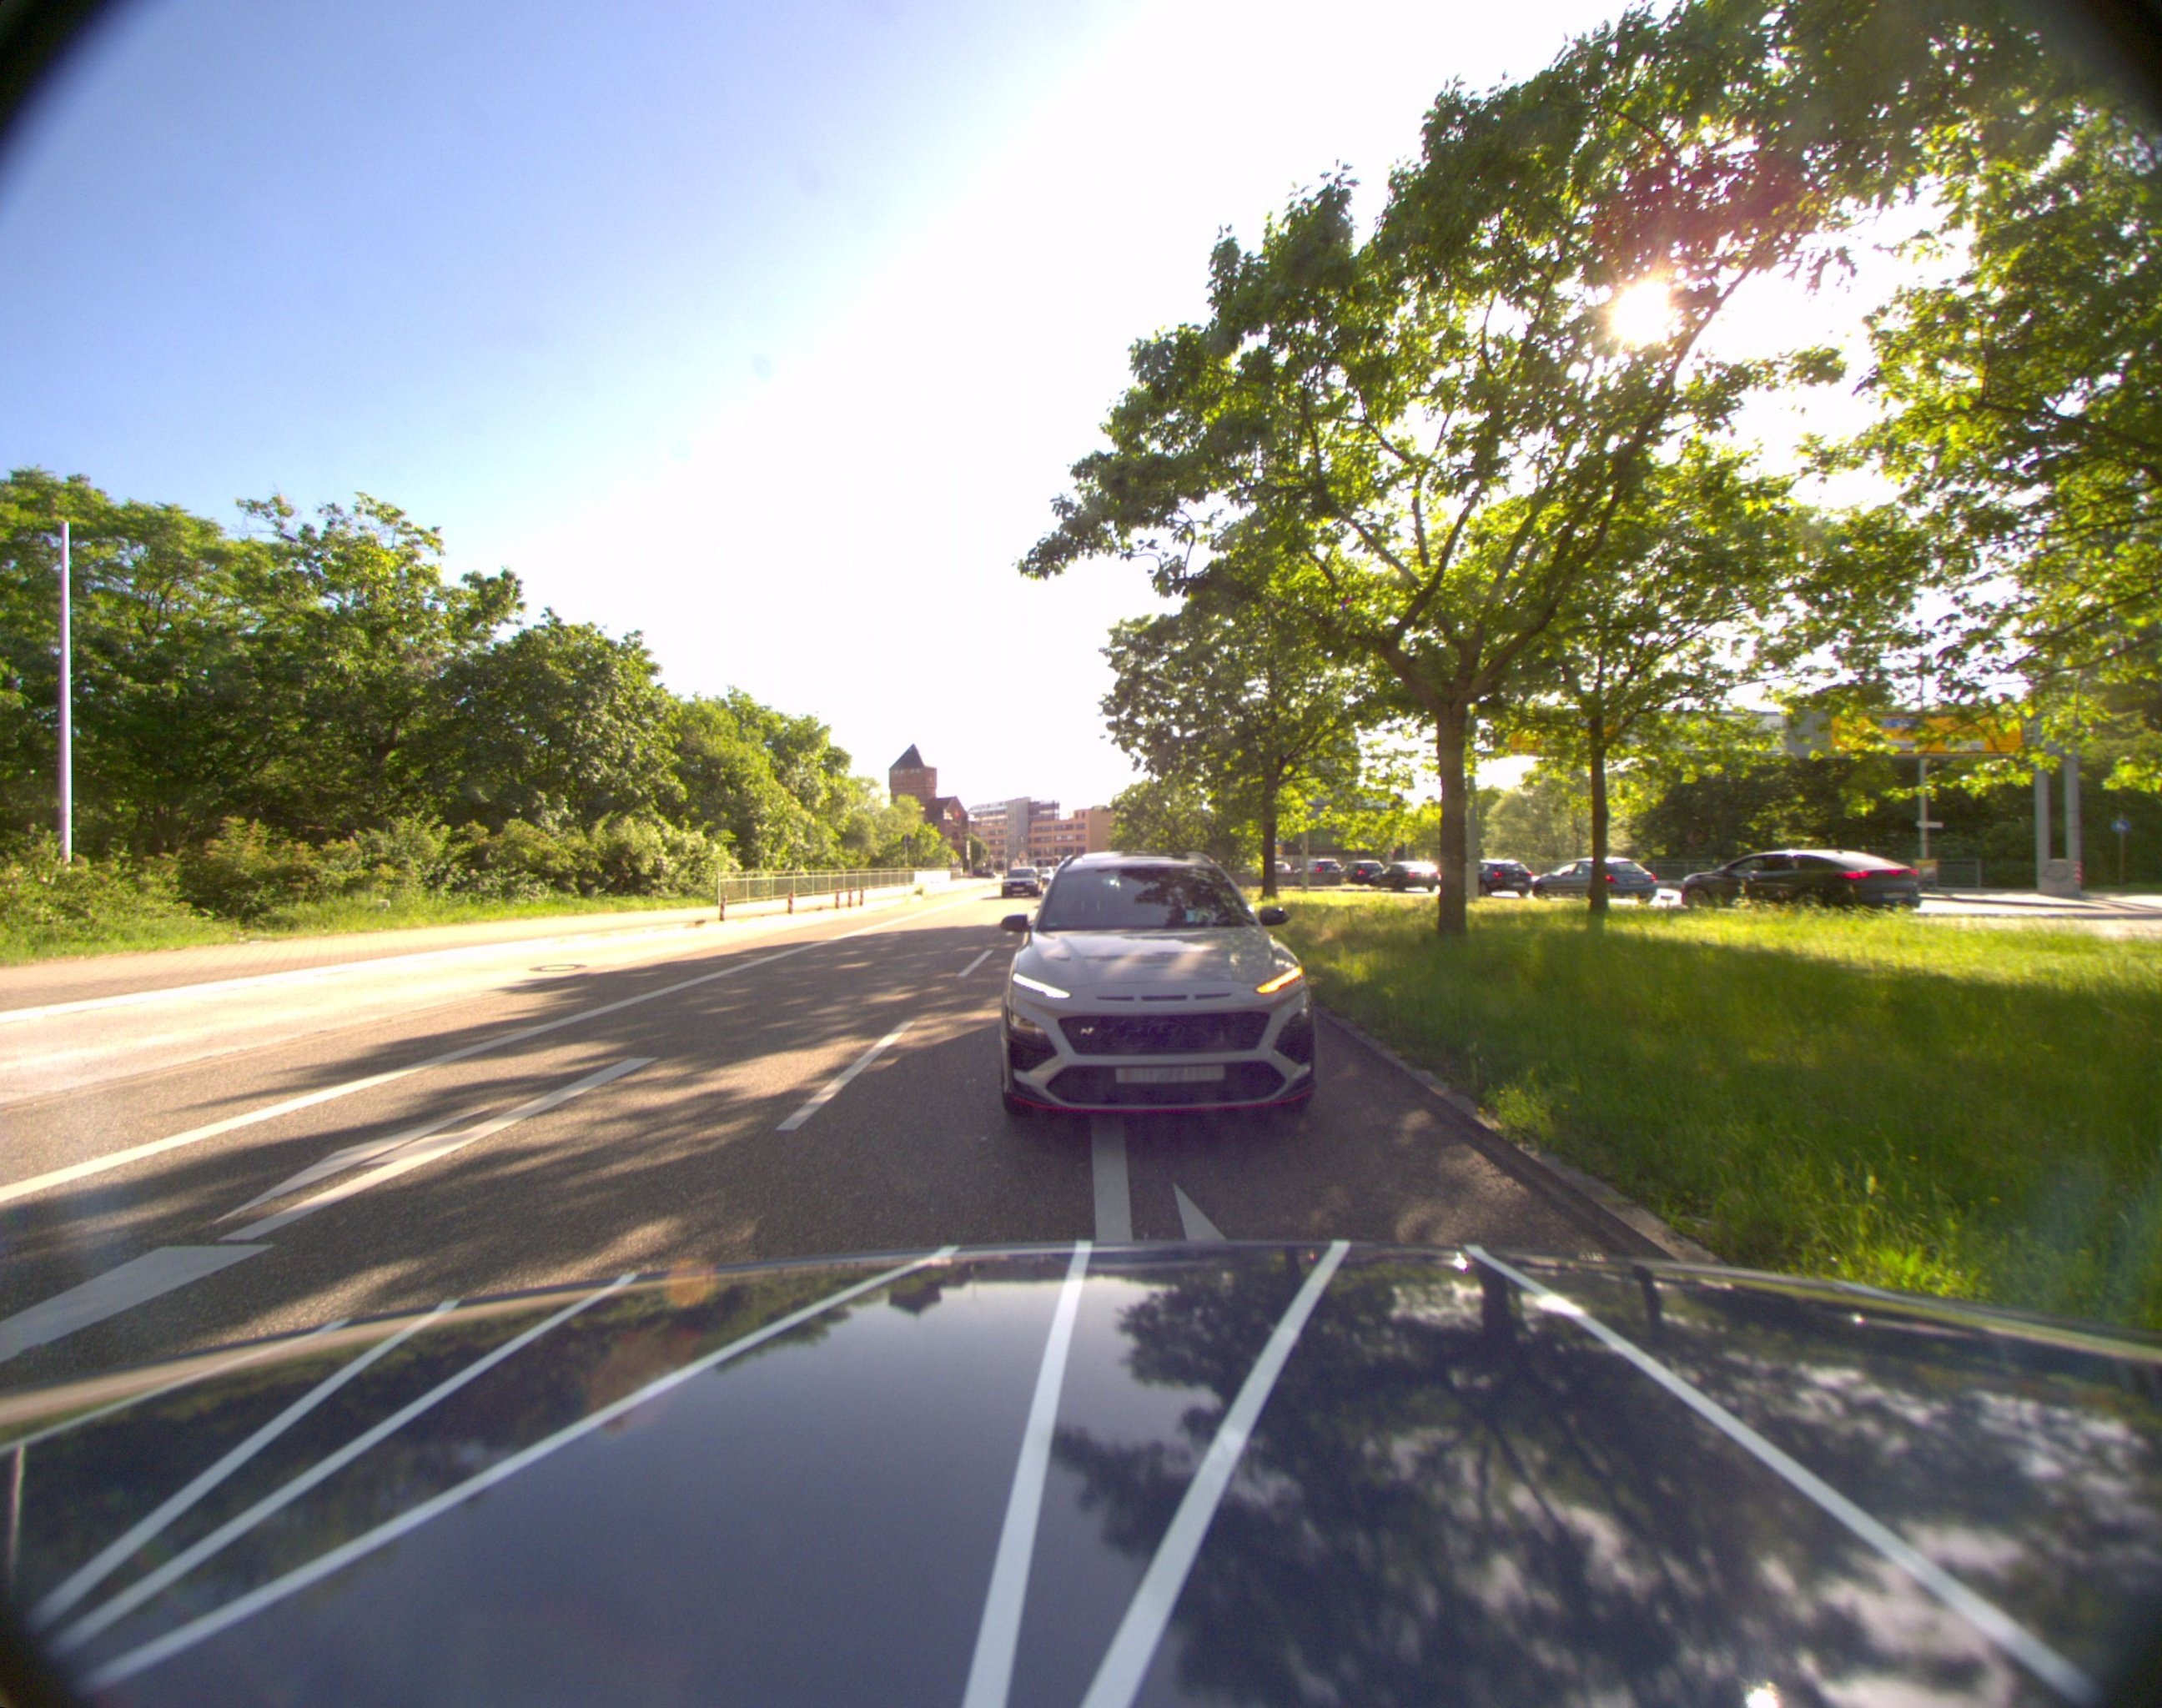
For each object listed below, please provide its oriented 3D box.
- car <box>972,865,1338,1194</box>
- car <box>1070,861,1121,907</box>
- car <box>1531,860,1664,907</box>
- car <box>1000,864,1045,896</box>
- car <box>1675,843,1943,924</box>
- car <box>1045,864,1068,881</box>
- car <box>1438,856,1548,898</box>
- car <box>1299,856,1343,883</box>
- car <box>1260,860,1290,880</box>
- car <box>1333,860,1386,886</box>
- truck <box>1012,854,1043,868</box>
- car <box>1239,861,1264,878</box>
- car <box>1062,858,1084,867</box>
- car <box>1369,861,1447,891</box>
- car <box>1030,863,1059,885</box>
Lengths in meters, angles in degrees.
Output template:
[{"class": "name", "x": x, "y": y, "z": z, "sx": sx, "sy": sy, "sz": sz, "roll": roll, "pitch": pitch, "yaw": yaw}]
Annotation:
[{"class": "car", "x": 0.385, "y": 0.885, "z": 5.682, "sx": 1.752, "sy": 1.523, "sz": 3.988, "roll": -1, "pitch": 0, "yaw": 1}, {"class": "car", "x": 0.520, "y": 1.026, "z": 27.317, "sx": 1.677, "sy": 1.463, "sz": 4.151, "roll": -1, "pitch": 0, "yaw": 1}, {"class": "car", "x": 16.380, "y": 0.888, "z": 24.325, "sx": 1.561, "sy": 1.355, "sz": 3.608, "roll": -1, "pitch": -1, "yaw": -6}, {"class": "car", "x": -2.796, "y": 1.219, "z": 37.283, "sx": 1.776, "sy": 1.395, "sz": 4.318, "roll": -1, "pitch": 0, "yaw": 1}, {"class": "car", "x": 16.784, "y": 0.611, "z": 17.909, "sx": 1.832, "sy": 1.638, "sz": 4.458, "roll": -1, "pitch": 0, "yaw": -5}, {"class": "car", "x": -2.087, "y": 1.564, "z": 64.980, "sx": 1.785, "sy": 1.411, "sz": 4.001, "roll": -1, "pitch": -1, "yaw": 1}, {"class": "car", "x": 16.186, "y": 0.851, "z": 30.143, "sx": 1.875, "sy": 1.541, "sz": 4.221, "roll": -1, "pitch": 0, "yaw": -4}, {"class": "car", "x": 14.967, "y": 0.998, "z": 47.568, "sx": 1.450, "sy": 1.549, "sz": 3.202, "roll": -1, "pitch": -2, "yaw": -6}, {"class": "car", "x": 14.319, "y": 1.214, "z": 56.146, "sx": 1.228, "sy": 1.331, "sz": 2.882, "roll": -1, "pitch": -3, "yaw": -6}, {"class": "car", "x": 15.151, "y": 1.038, "z": 41.472, "sx": 1.481, "sy": 1.331, "sz": 3.202, "roll": -1, "pitch": -1, "yaw": -6}, {"class": "truck", "x": -13.557, "y": 1.782, "z": 193.106, "sx": 3.535, "sy": 3.231, "sz": 9.141, "roll": -1, "pitch": 0, "yaw": -36}, {"class": "car", "x": 13.945, "y": 1.286, "z": 62.321, "sx": 1.199, "sy": 1.252, "sz": 2.768, "roll": -1, "pitch": -2, "yaw": -6}, {"class": "car", "x": -1.796, "y": 1.916, "z": 173.822, "sx": 2.177, "sy": 2.001, "sz": 5.400, "roll": -1, "pitch": 0, "yaw": -36}, {"class": "car", "x": 15.474, "y": 1.003, "z": 36.216, "sx": 1.623, "sy": 1.305, "sz": 4.066, "roll": -1, "pitch": 0, "yaw": -6}, {"class": "car", "x": -2.534, "y": 1.378, "z": 53.335, "sx": 1.785, "sy": 1.411, "sz": 4.001, "roll": -1, "pitch": -1, "yaw": 1}]
